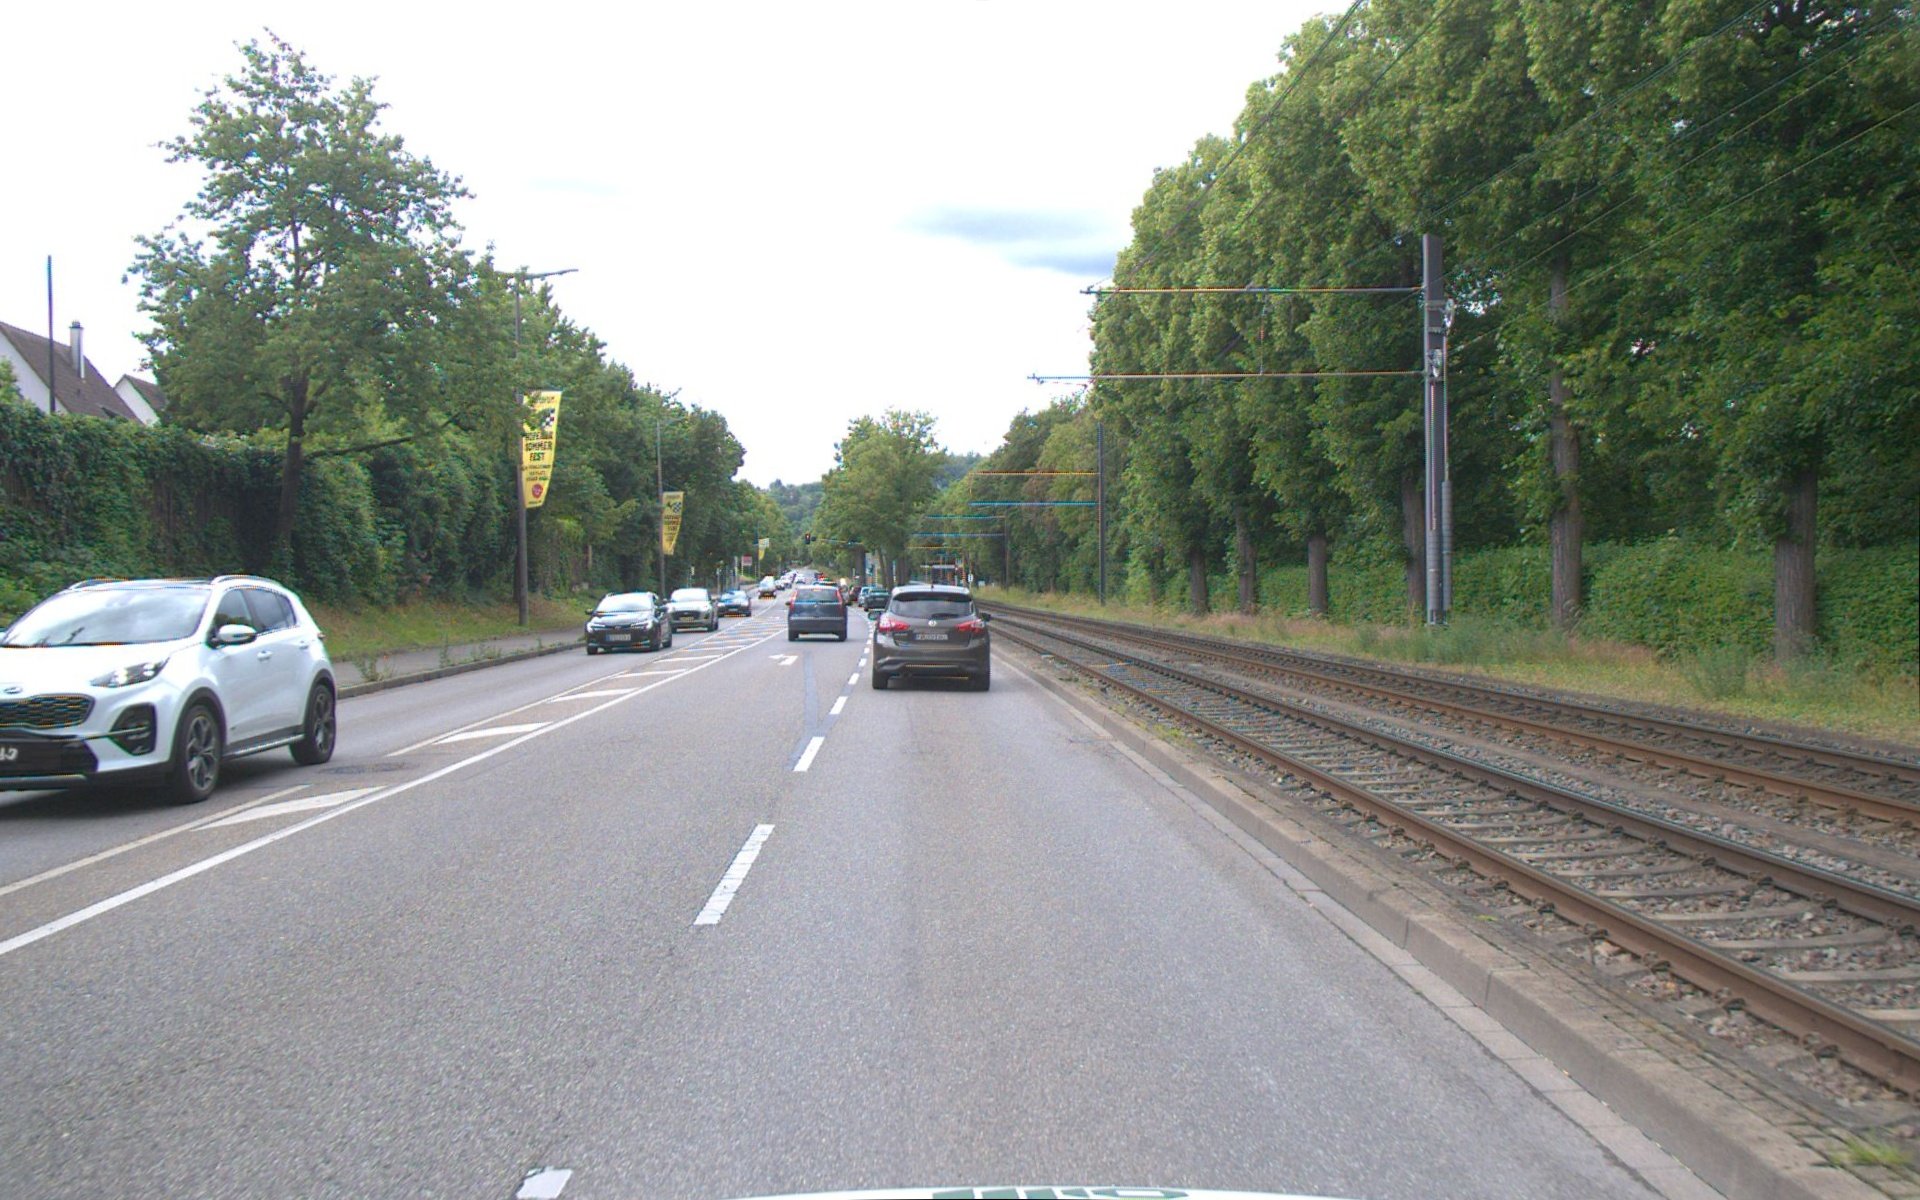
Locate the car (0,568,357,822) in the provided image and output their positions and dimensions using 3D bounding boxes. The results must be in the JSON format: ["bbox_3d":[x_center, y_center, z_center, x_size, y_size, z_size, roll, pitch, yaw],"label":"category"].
[{"bbox_3d":[-6.355,0.631,13.031,1.805,1.648,4.157,-2,0,-3],"label":"car"}]

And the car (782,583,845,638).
[{"bbox_3d":[-4.032,0.265,45.952,1.666,1.469,3.997,0,0,-4],"label":"car"}]

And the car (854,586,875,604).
[{"bbox_3d":[-8.336,-0.432,144.707,1.681,1.577,3.998,0,0,-2],"label":"car"}]

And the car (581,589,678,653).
[{"bbox_3d":[-8.144,0.473,41.076,1.731,1.425,4.213,-3,0,-3],"label":"car"}]

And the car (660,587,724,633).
[{"bbox_3d":[-9.533,0.337,59.018,1.790,1.482,4.139,-3,0,-4],"label":"car"}]

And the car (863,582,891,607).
[{"bbox_3d":[-5.200,-0.340,103.936,1.681,1.577,3.998,0,0,-2],"label":"car"}]

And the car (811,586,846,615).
[{"bbox_3d":[-6.933,0.004,87.551,1.681,1.460,3.998,0,1,-2],"label":"car"}]

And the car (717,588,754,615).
[{"bbox_3d":[-12.327,0.055,90.921,1.806,1.399,4.442,-2,1,-6],"label":"car"}]

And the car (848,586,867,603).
[{"bbox_3d":[-9.603,-0.478,155.266,1.681,1.577,3.998,0,0,-2],"label":"car"}]

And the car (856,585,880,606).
[{"bbox_3d":[-6.829,-0.319,123.474,1.681,1.577,3.998,0,0,-2],"label":"car"}]

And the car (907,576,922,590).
[{"bbox_3d":[-5.613,-2.124,203.499,1.681,1.692,3.704,0,0,-4],"label":"car"}]

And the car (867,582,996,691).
[{"bbox_3d":[-0.441,0.501,25.470,1.813,1.519,3.999,1,0,-1],"label":"car"}]

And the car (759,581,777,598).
[{"bbox_3d":[-20.481,-1.131,176.243,1.681,1.791,3.997,0,0,-4],"label":"car"}]

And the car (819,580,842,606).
[{"bbox_3d":[-9.631,-0.523,123.105,1.682,1.896,3.996,0,0,-5],"label":"car"}]
